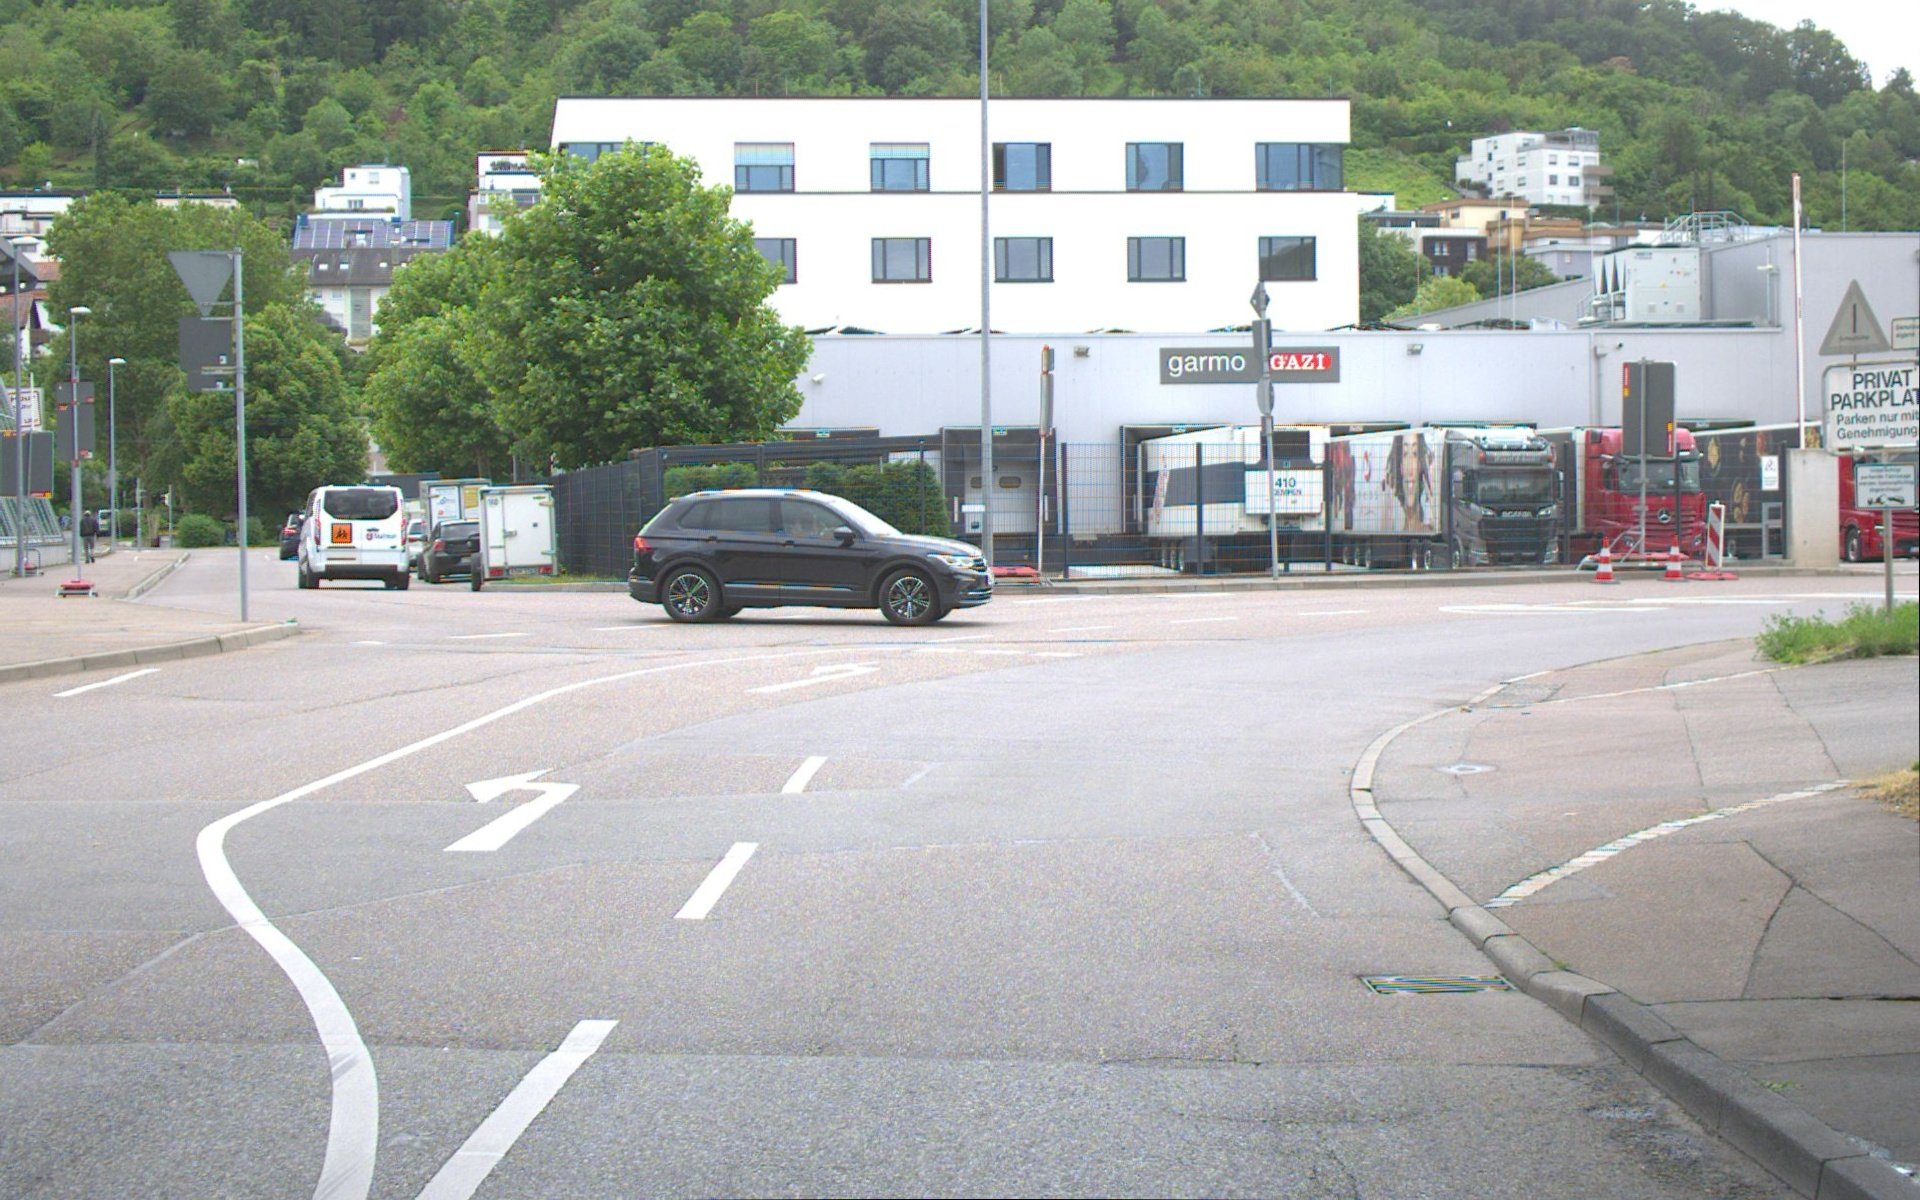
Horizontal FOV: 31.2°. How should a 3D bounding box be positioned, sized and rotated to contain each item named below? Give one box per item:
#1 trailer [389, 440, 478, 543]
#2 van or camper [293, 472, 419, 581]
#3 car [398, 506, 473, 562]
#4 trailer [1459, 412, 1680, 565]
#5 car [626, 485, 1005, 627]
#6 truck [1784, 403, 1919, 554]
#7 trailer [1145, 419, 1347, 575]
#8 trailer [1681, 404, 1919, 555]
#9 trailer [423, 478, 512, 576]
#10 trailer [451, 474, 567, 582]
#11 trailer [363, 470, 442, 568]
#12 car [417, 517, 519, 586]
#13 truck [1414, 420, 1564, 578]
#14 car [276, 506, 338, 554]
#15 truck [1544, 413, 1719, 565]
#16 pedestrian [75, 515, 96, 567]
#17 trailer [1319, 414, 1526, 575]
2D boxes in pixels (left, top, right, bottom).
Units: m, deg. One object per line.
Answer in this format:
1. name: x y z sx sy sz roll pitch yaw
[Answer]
1. trailer: -19.594 -4.043 127.800 3.067 3.746 4.935 0 2 -11
2. van or camper: -11.977 -1.432 67.956 2.098 2.076 4.207 -1 1 -15
3. car: -14.489 -1.850 94.932 1.993 1.503 4.001 0 2 -9
4. trailer: 17.037 -3.062 97.064 2.782 4.063 10.999 0 1 -8
5. car: -1.743 -0.539 42.412 4.358 1.678 1.999 0 1 9
6. truck: 24.674 -3.224 92.701 2.792 3.915 5.927 0 1 -8
7. trailer: 7.789 -2.796 95.583 3.080 4.063 11.413 0 1 -8
8. trailer: 23.875 -3.339 98.124 2.782 4.063 10.999 0 1 -8
9. trailer: -12.046 -1.792 83.921 1.993 2.335 4.001 0 2 -11
10. trailer: -8.747 -1.411 66.412 1.993 2.006 4.001 0 2 -11
11. trailer: -17.128 -2.495 105.543 2.278 2.943 4.001 0 2 -11
12. car: -11.253 -1.126 78.411 1.993 1.503 4.183 0 2 -12
13. truck: 13.848 -2.627 90.291 2.792 4.026 4.166 0 1 -8
14. car: -23.667 -2.520 124.705 1.993 1.678 4.001 -1 1 -8
15. truck: 17.850 -2.917 91.768 2.792 3.915 5.927 0 1 -8
16. pedestrian: -28.377 -1.915 111.573 0.627 1.667 0.758 -1 1 -14
17. trailer: 12.879 -2.899 96.901 2.782 4.286 11.185 0 1 -8
